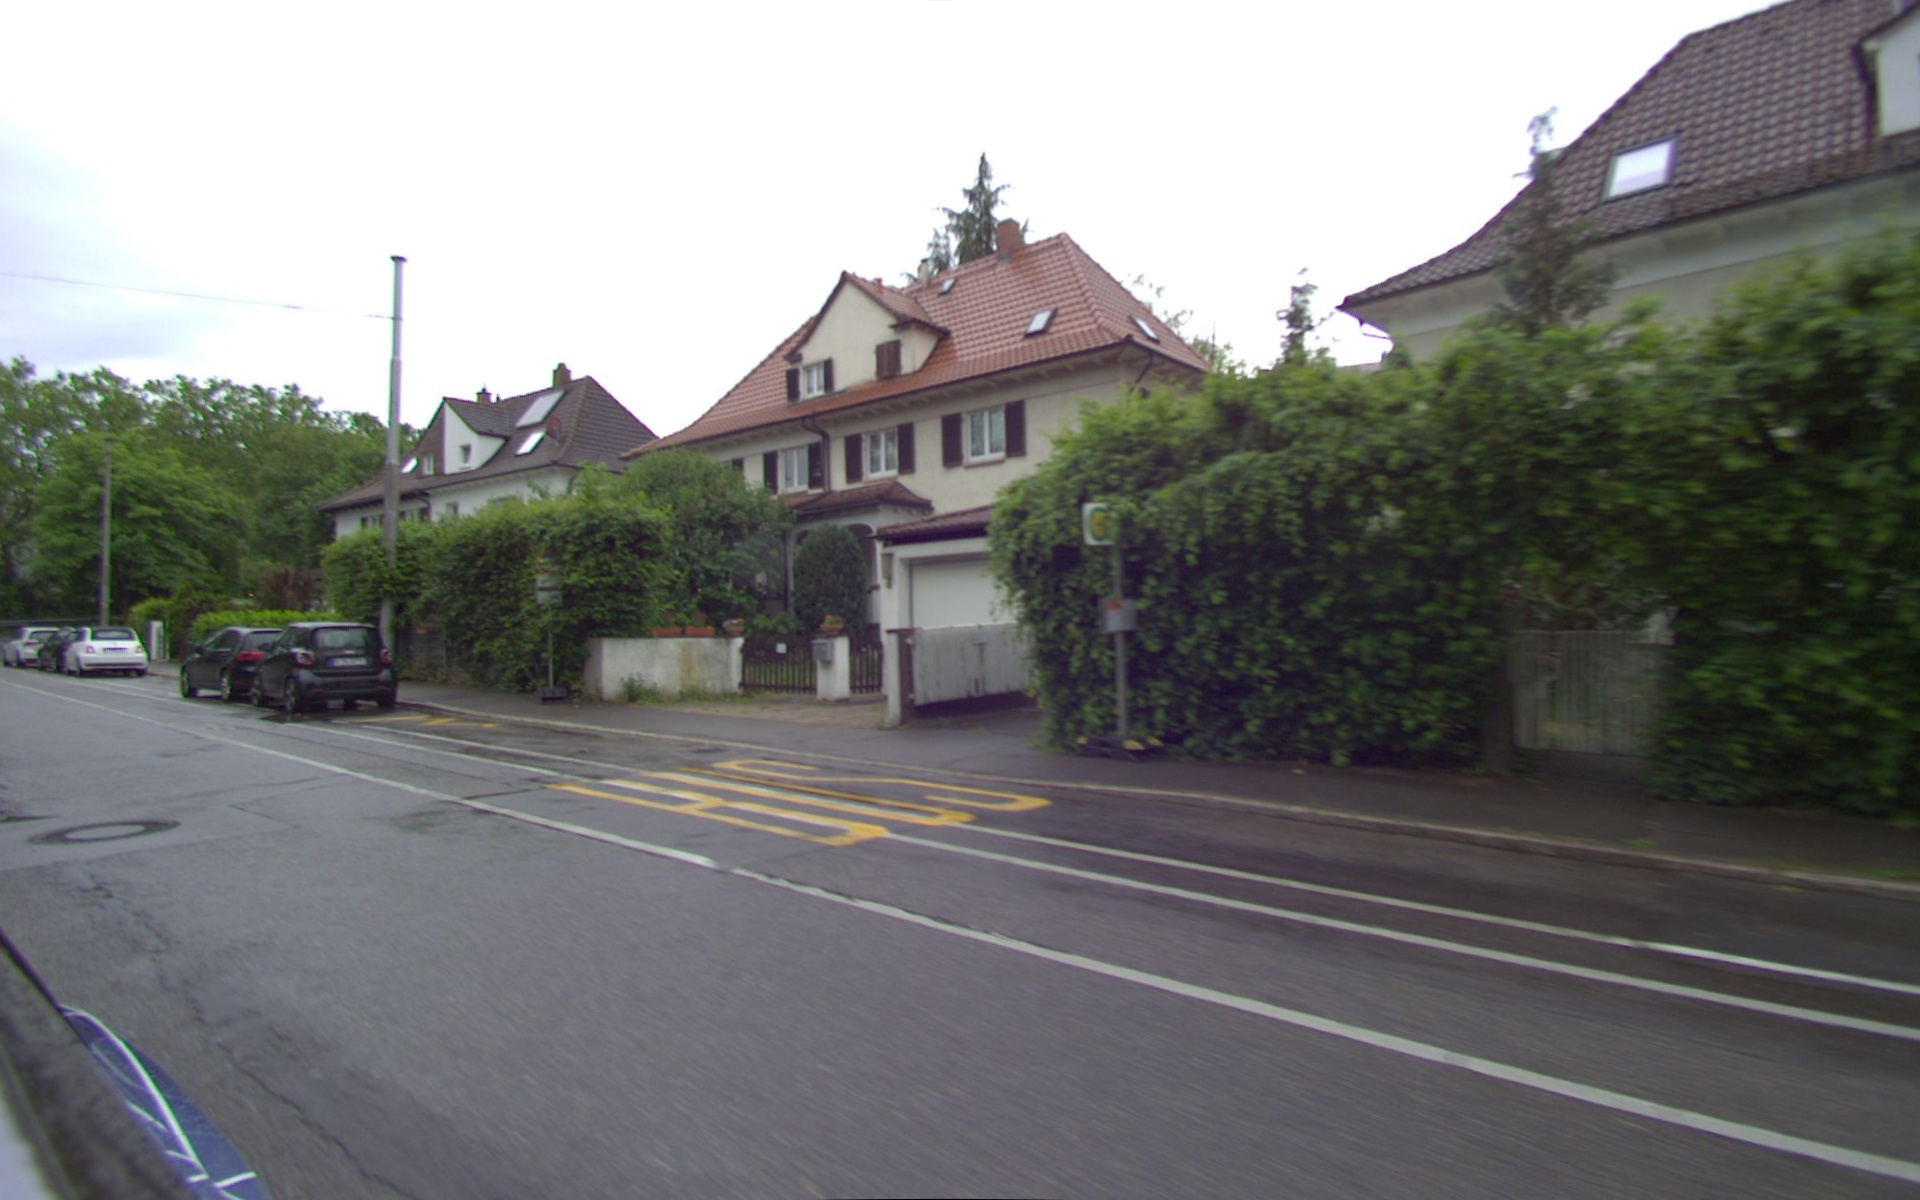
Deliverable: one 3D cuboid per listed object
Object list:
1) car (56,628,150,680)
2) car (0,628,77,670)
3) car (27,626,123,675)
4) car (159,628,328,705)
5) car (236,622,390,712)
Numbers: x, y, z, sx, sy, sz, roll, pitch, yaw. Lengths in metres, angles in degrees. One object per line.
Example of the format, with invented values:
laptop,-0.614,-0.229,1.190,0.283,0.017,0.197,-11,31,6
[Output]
car,-26.051,1.596,30.723,3.710,1.479,1.680,-1,-1,42
car,-34.039,1.818,37.083,4.276,1.433,1.716,-4,-4,37
car,-29.450,1.632,33.633,4.418,1.536,1.681,-1,-1,39
car,-14.781,1.328,20.808,4.209,1.429,1.671,-2,-4,38
car,-11.598,1.171,18.103,3.028,1.465,1.503,-2,-4,41
